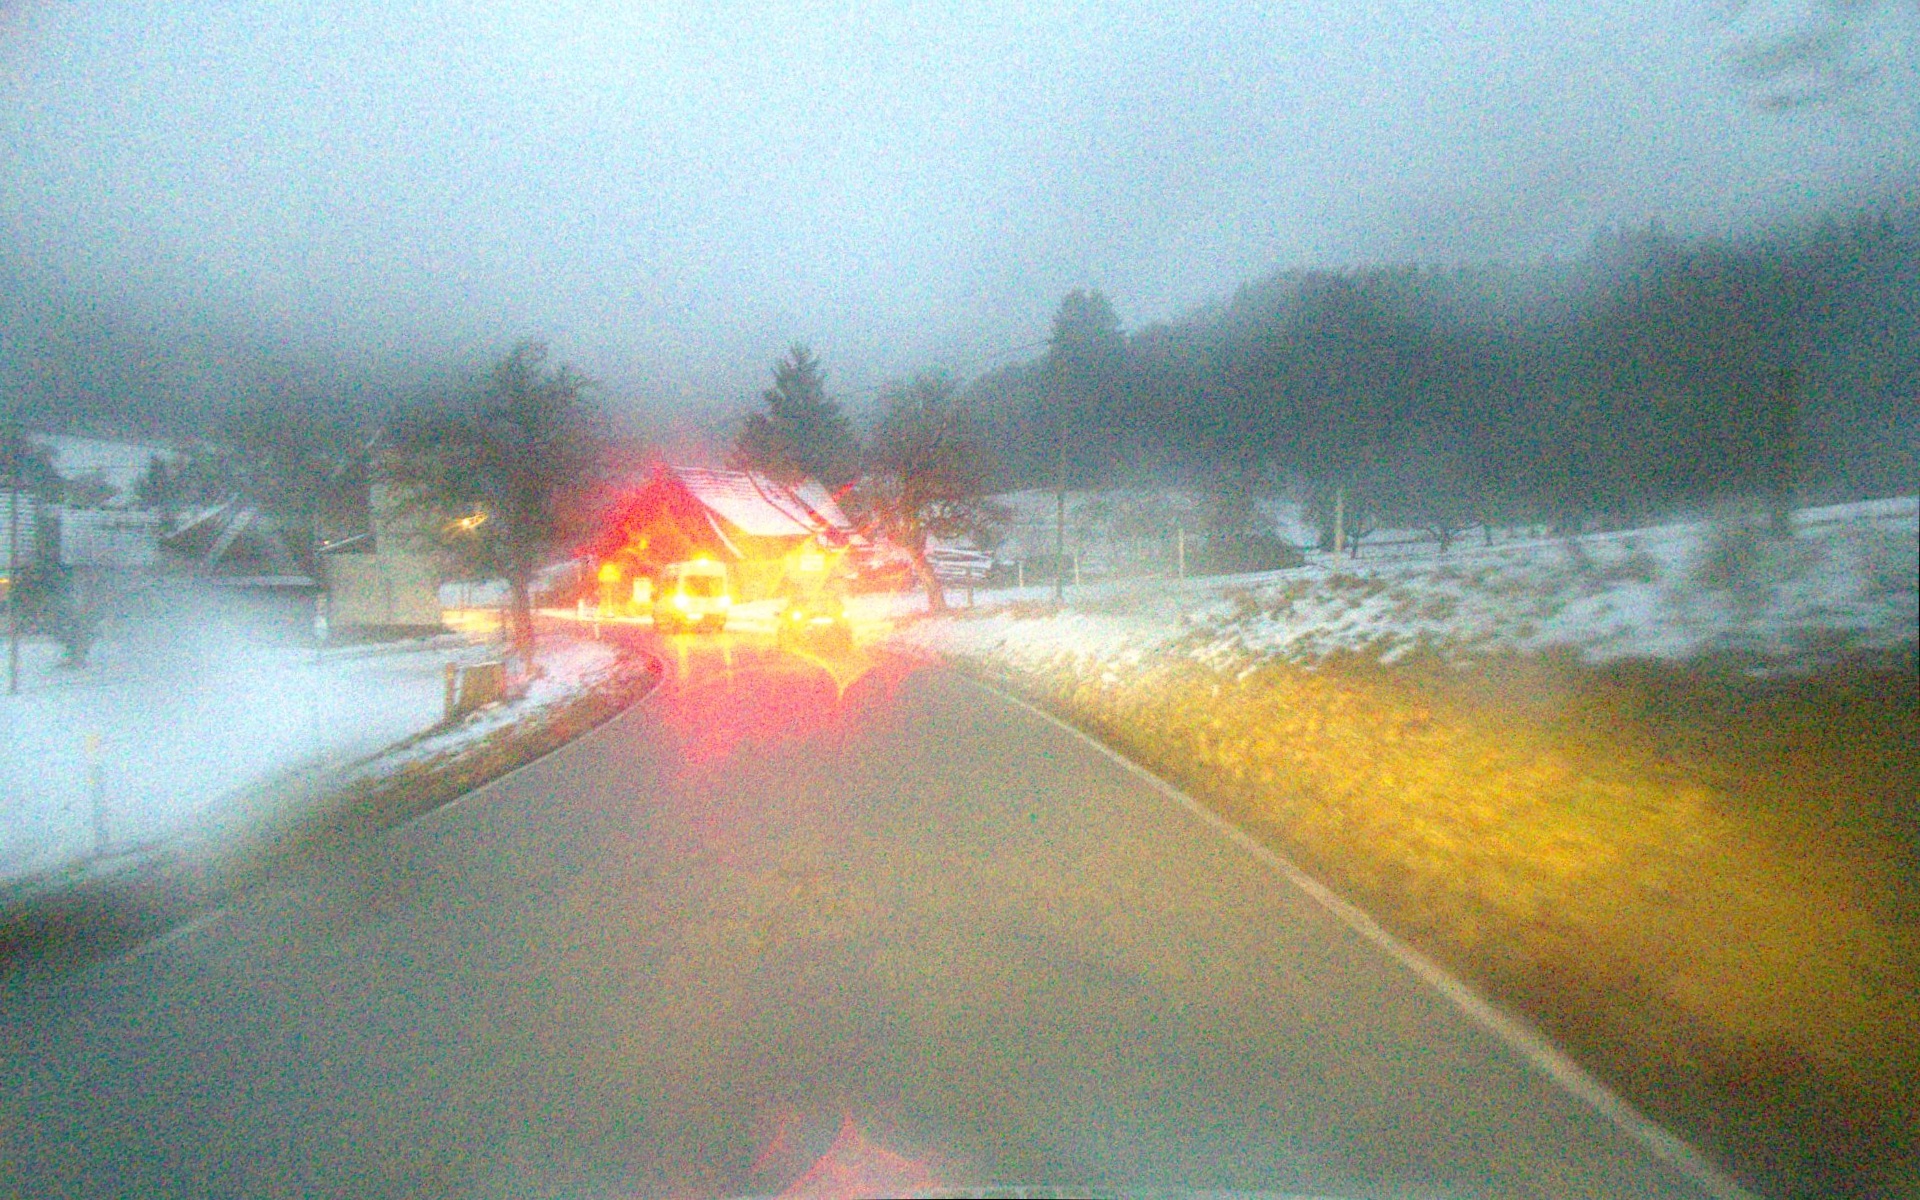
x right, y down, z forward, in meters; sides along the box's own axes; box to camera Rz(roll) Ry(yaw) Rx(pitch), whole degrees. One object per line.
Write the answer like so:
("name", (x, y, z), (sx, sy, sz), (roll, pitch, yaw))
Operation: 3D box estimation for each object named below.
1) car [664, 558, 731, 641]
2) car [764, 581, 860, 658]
("car", (-10.390, 0.012, 65.117), (2.392, 3.071, 5.311), (-1, -1, -11))
("car", (-4.056, 0.503, 44.549), (2.232, 1.873, 4.996), (-2, 0, -9))
